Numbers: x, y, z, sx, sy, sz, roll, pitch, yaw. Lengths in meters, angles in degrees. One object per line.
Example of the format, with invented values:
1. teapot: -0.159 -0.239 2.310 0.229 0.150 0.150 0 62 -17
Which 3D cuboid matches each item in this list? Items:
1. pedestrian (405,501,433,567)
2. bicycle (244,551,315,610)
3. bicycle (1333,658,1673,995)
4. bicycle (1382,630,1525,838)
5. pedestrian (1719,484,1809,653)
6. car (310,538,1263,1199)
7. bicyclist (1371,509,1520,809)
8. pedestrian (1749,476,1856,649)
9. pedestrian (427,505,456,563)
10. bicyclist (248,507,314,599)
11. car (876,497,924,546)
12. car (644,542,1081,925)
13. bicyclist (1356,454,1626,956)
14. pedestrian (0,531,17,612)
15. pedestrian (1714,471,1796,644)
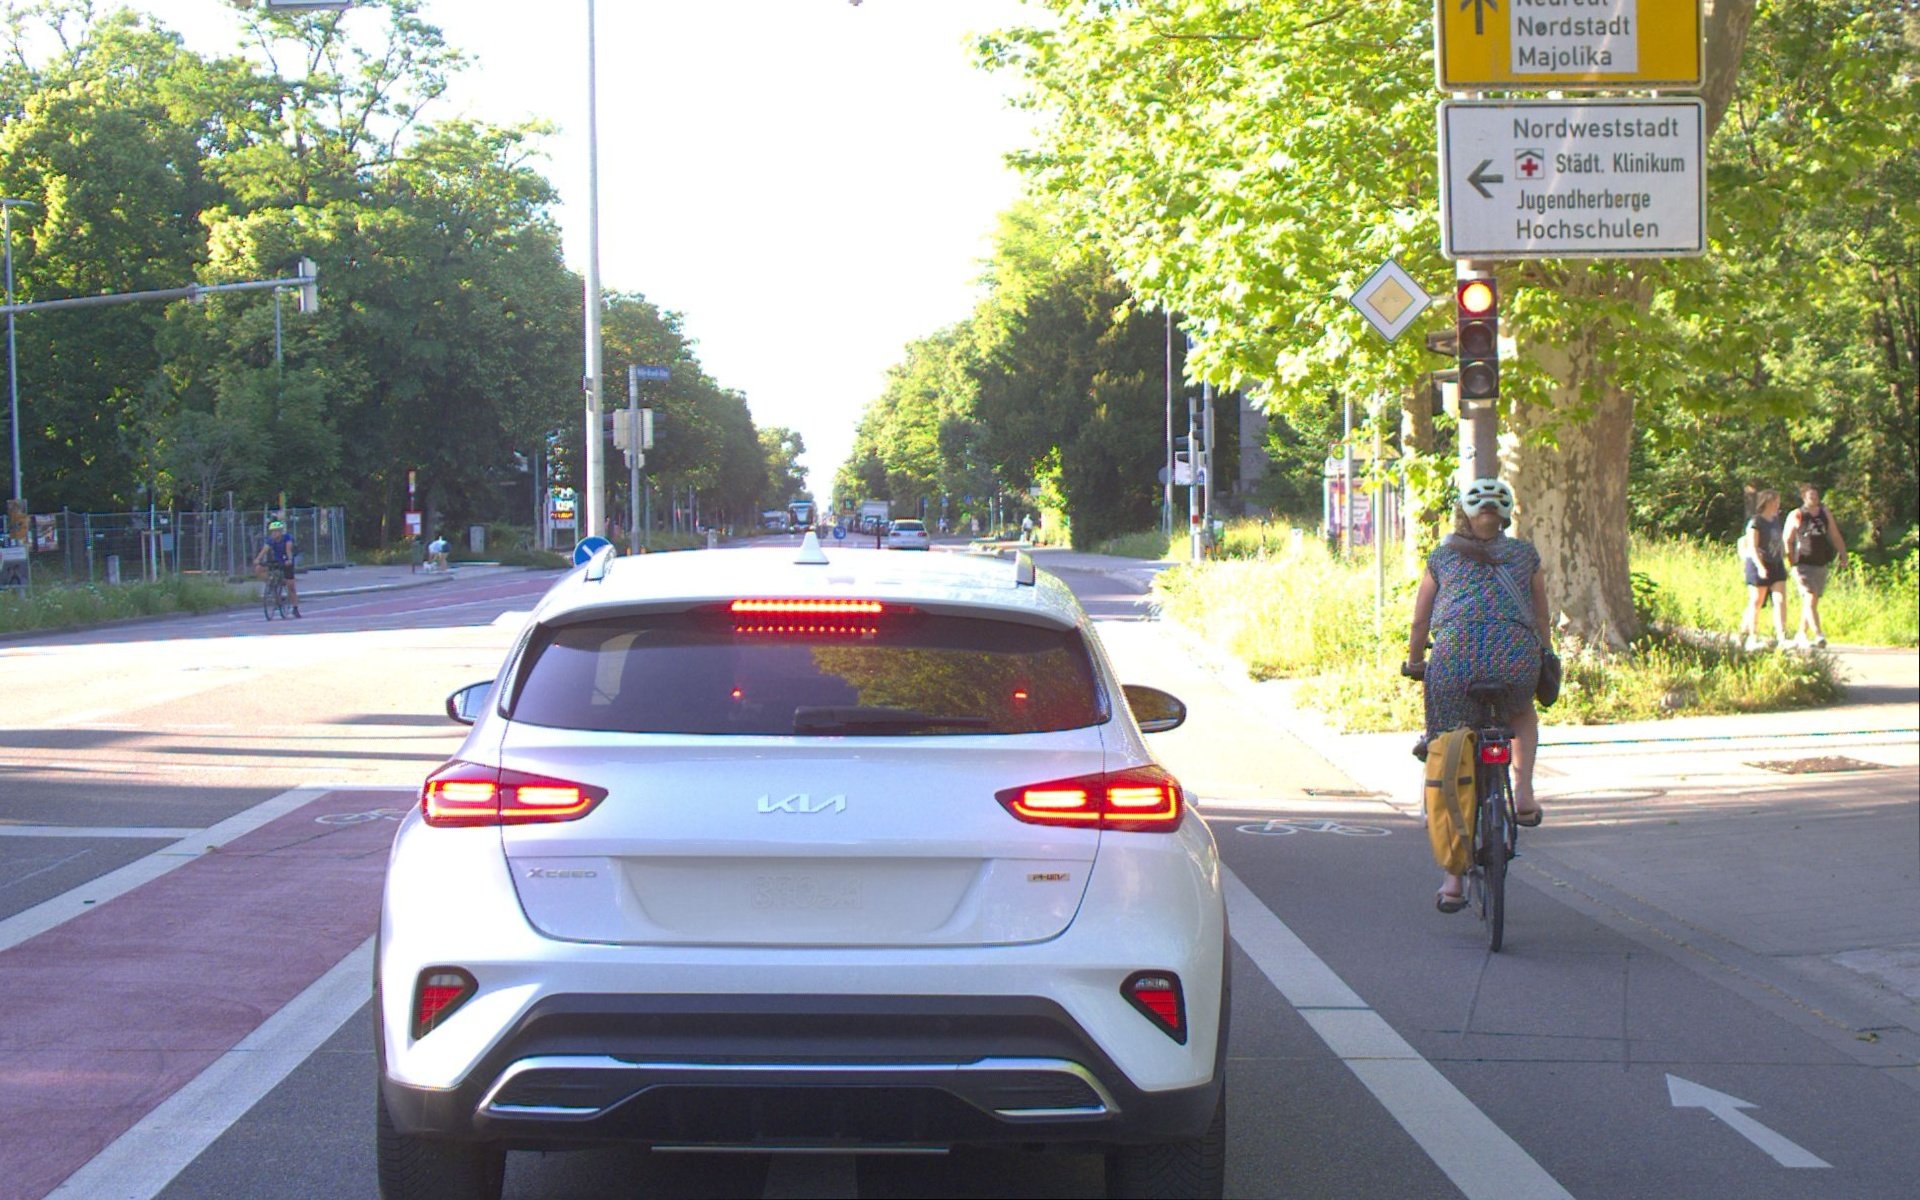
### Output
1. pedestrian: -16.643 -2.028 105.791 0.641 2.007 0.753 0 1 10
2. bicycle: -12.117 -0.360 61.291 0.663 0.985 2.504 -1 1 2
3. bicycle: 1.963 0.783 12.835 0.758 1.009 2.570 1 1 -2
4. bicycle: 2.499 0.659 17.522 0.401 0.953 1.551 -4 1 -2
5. pedestrian: 8.232 -0.330 35.206 0.689 1.693 0.644 -2 1 -7
6. car: -0.395 0.600 8.561 1.821 1.475 3.937 0 1 -2
7. bicyclist: 2.477 0.291 17.590 0.554 1.473 0.717 -4 1 -2
8. pedestrian: 8.828 -0.398 36.039 0.817 1.765 0.832 -2 1 -7
9. pedestrian: -15.979 -2.024 105.971 0.785 1.779 0.751 0 1 0
10. bicyclist: -12.124 -0.850 61.409 0.875 1.603 1.188 -1 1 2
11. car: -2.543 -3.359 146.666 1.993 2.007 4.000 -1 1 -1
12. car: -0.459 0.508 15.623 1.728 1.478 3.517 -1 1 -2
13. bicyclist: 1.971 0.363 12.909 0.753 1.789 1.165 1 1 -2
14. pedestrian: -19.472 -0.569 68.628 1.087 1.598 1.001 -1 1 -7
15. pedestrian: 8.272 -0.447 35.780 0.615 1.765 0.647 -2 1 -7
